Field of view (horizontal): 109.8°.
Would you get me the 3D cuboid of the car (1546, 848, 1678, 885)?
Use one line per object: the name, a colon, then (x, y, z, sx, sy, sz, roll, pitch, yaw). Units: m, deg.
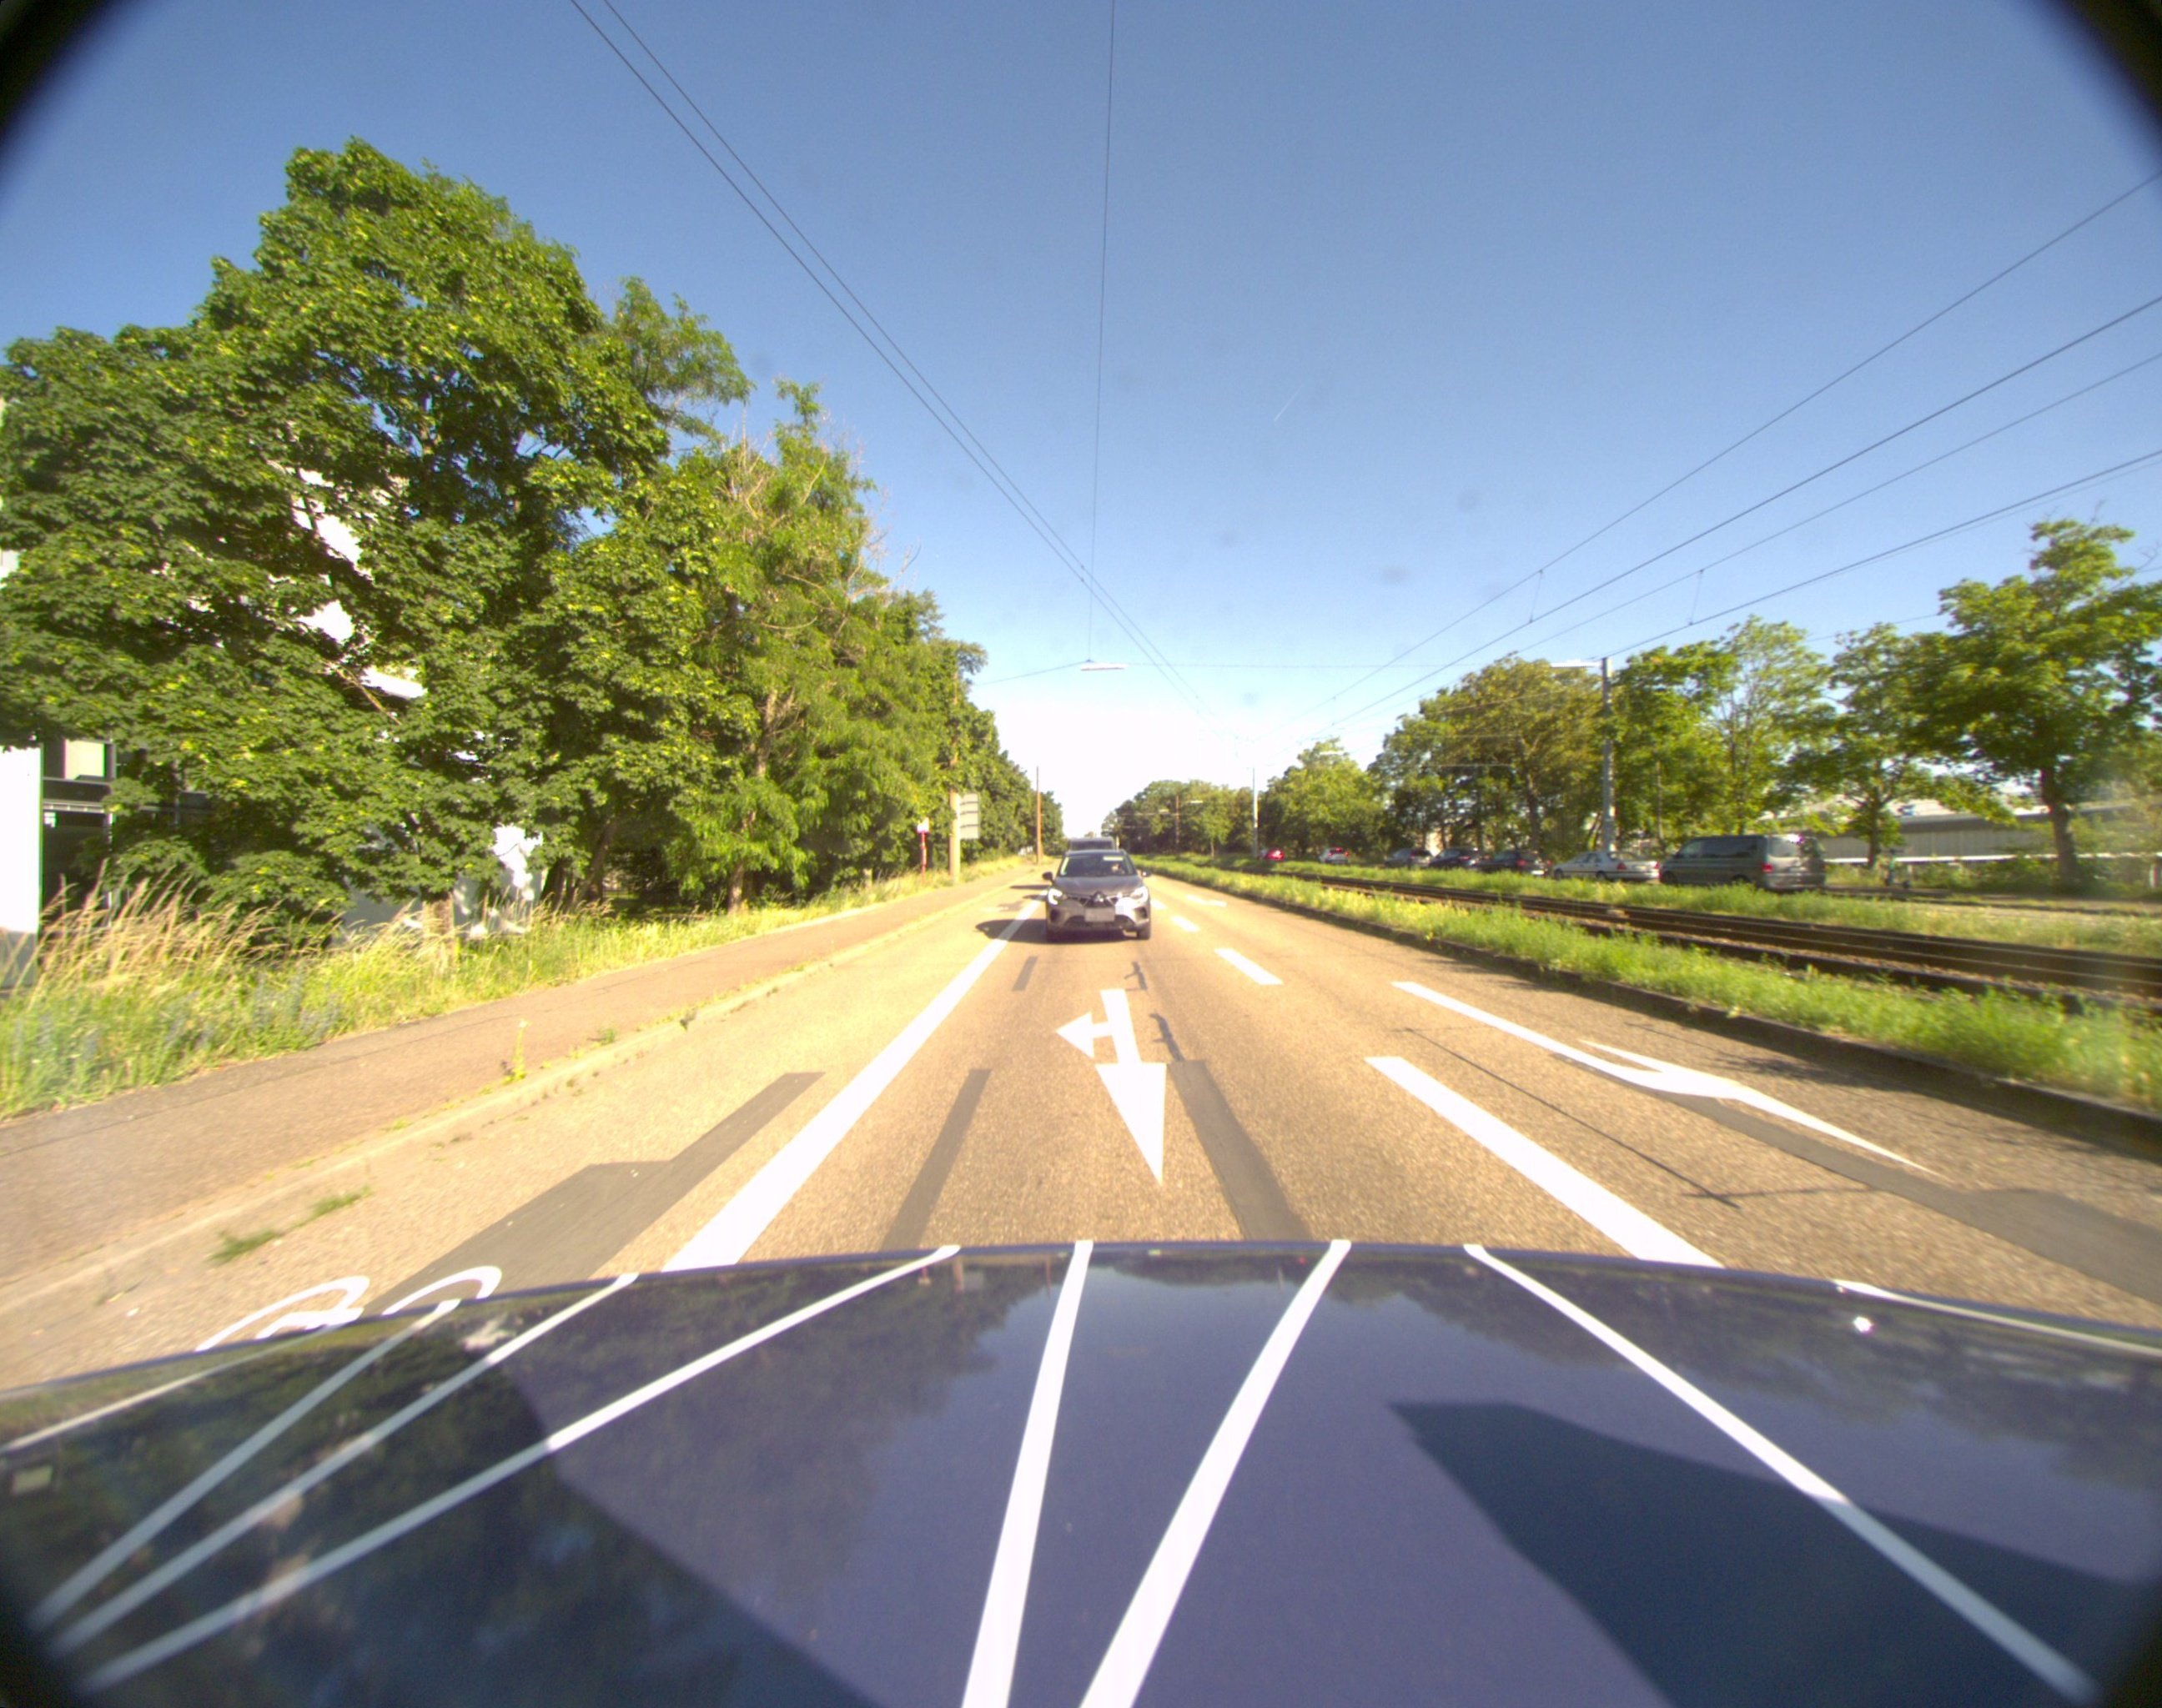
car: (21.605, 0.475, 31.175, 2.130, 1.372, 4.615, -1, 0, -1)

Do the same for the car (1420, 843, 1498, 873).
car: (21.322, 0.227, 43.063, 2.130, 1.578, 4.616, -1, 0, 1)

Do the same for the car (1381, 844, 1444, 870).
car: (21.556, 0.167, 49.645, 2.130, 1.554, 4.560, -1, 0, 0)

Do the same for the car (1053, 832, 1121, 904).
car: (0.187, 0.408, 24.777, 1.998, 2.113, 4.000, -1, 0, 1)

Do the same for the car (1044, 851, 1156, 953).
car: (0.254, 0.756, 14.505, 1.796, 1.583, 4.529, -1, 1, -1)

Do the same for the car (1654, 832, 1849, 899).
car: (21.308, 0.323, 24.490, 2.207, 1.923, 4.685, -1, 0, 2)

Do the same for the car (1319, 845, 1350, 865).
car: (21.163, 0.060, 63.587, 1.858, 1.549, 4.160, -1, 0, 11)

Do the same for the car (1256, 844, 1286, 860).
car: (20.863, -0.218, 83.697, 2.321, 1.723, 4.798, -1, 0, 3)

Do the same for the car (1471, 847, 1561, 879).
car: (21.380, 0.412, 37.568, 1.960, 1.418, 4.488, -1, 0, 1)

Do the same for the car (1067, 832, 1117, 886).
car: (0.407, 0.220, 33.271, 1.999, 2.198, 4.786, 0, 0, -2)
